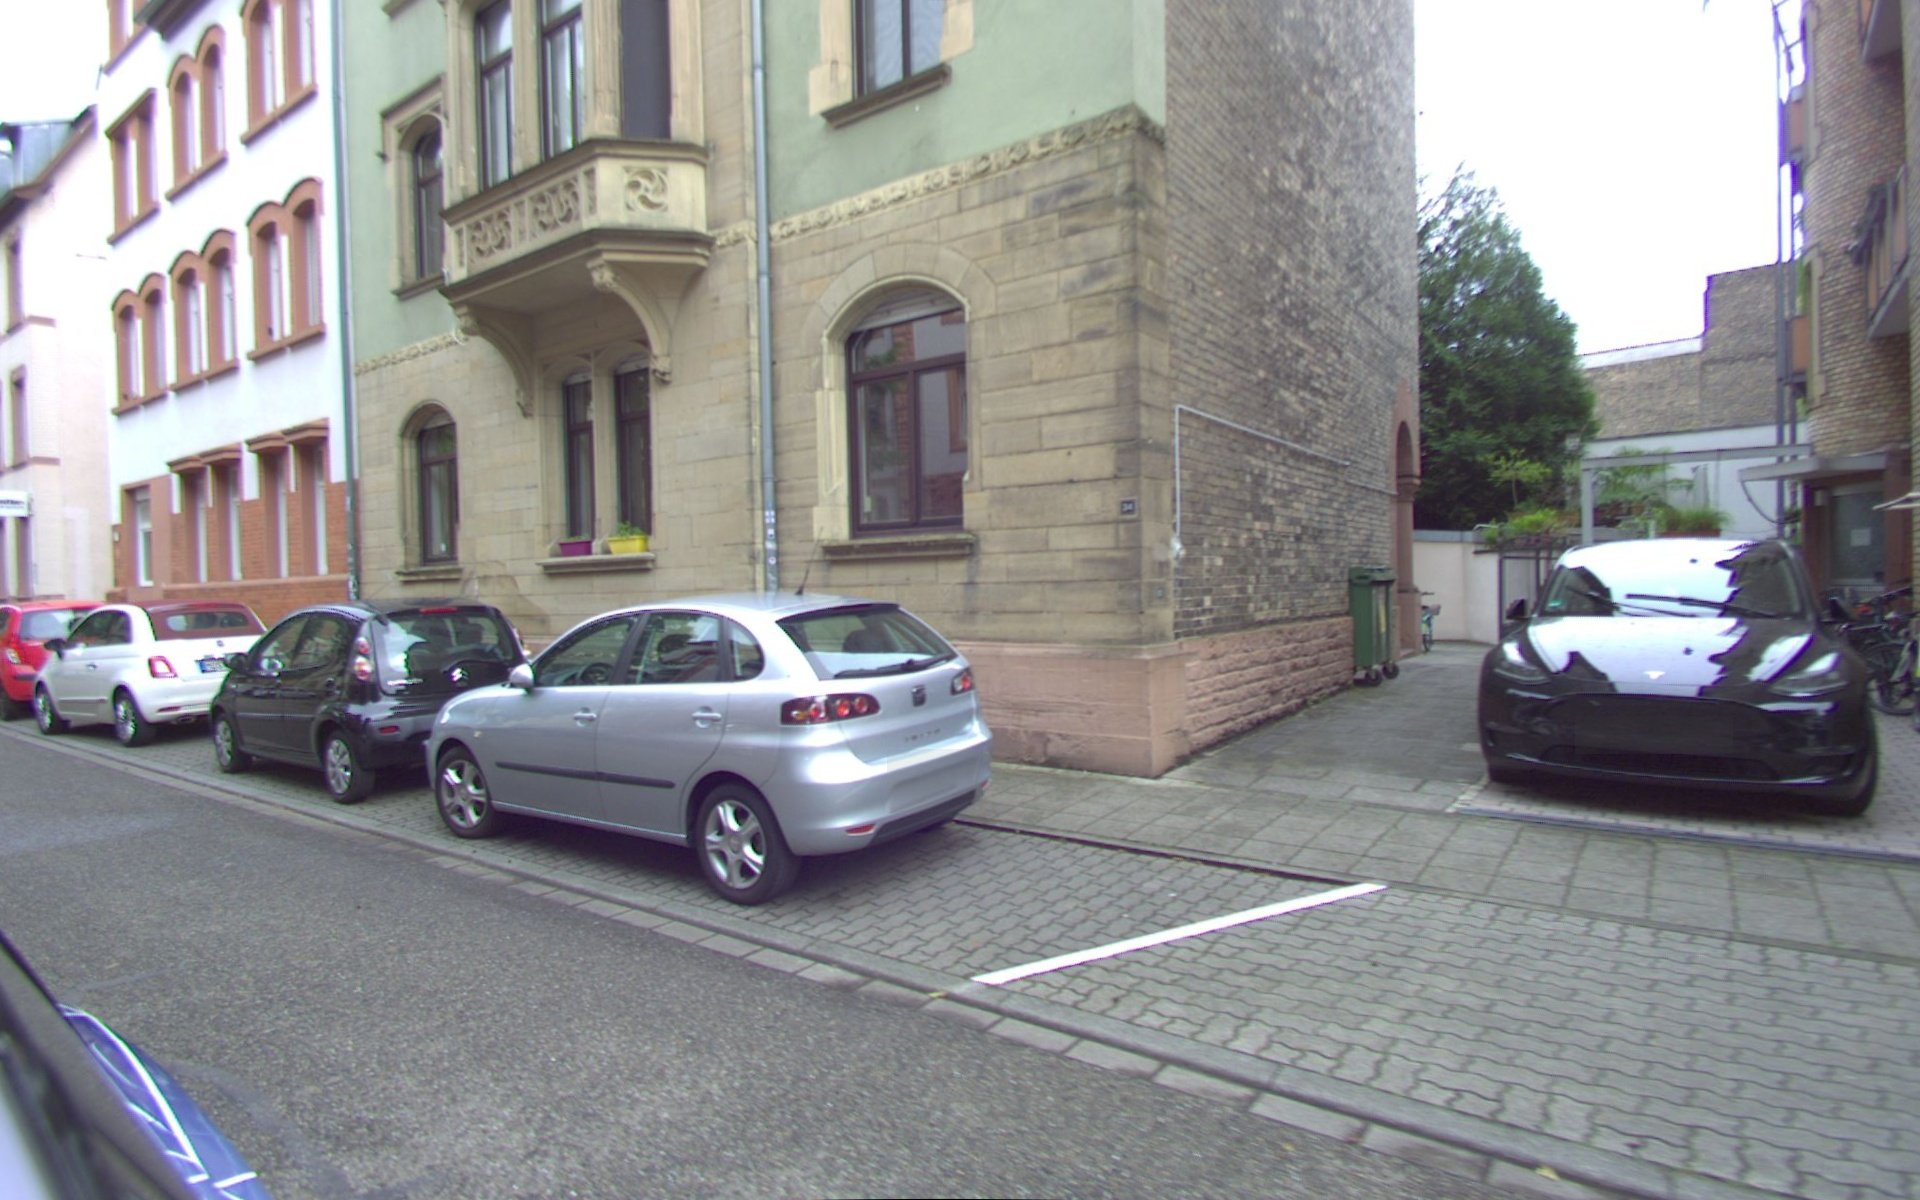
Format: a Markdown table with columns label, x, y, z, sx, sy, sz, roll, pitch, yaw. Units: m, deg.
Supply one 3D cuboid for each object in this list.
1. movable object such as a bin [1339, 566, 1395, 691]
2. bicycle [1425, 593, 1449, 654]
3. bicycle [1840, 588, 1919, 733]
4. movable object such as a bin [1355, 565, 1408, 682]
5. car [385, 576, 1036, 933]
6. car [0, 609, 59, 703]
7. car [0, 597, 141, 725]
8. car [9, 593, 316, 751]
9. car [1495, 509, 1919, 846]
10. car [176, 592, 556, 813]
| label | x | y | z | sx | sy | sz | roll | pitch | yaw |
| --- | --- | --- | --- | --- | --- | --- | --- | --- | --- |
| movable object such as a bin | 4.559 | 0.307 | 11.335 | 0.475 | 1.357 | 0.411 | -1 | 0 | 37 |
| bicycle | 8.515 | 0.402 | 18.064 | 0.306 | 1.017 | 1.385 | -1 | 1 | 28 |
| bicycle | 8.364 | 0.464 | 8.941 | 0.574 | 1.099 | 2.622 | -1 | 0 | 34 |
| movable object such as a bin | 5.004 | 0.273 | 12.019 | 0.475 | 1.357 | 0.411 | -1 | 0 | 37 |
| car | -1.611 | 0.671 | 5.955 | 3.801 | 1.444 | 1.576 | -2 | 2 | 35 |
| car | -16.575 | 0.930 | 16.920 | 3.911 | 1.427 | 1.452 | -2 | 2 | 37 |
| car | -13.154 | 0.804 | 14.385 | 3.562 | 1.541 | 1.452 | -2 | 2 | 37 |
| car | -9.216 | 0.740 | 11.649 | 3.542 | 1.522 | 1.654 | -1 | 1 | 32 |
| car | 4.946 | 0.331 | 6.847 | 1.764 | 1.576 | 3.951 | -1 | 1 | 36 |
| car | -5.095 | 0.733 | 8.554 | 3.449 | 1.444 | 1.503 | -2 | 2 | 37 |
